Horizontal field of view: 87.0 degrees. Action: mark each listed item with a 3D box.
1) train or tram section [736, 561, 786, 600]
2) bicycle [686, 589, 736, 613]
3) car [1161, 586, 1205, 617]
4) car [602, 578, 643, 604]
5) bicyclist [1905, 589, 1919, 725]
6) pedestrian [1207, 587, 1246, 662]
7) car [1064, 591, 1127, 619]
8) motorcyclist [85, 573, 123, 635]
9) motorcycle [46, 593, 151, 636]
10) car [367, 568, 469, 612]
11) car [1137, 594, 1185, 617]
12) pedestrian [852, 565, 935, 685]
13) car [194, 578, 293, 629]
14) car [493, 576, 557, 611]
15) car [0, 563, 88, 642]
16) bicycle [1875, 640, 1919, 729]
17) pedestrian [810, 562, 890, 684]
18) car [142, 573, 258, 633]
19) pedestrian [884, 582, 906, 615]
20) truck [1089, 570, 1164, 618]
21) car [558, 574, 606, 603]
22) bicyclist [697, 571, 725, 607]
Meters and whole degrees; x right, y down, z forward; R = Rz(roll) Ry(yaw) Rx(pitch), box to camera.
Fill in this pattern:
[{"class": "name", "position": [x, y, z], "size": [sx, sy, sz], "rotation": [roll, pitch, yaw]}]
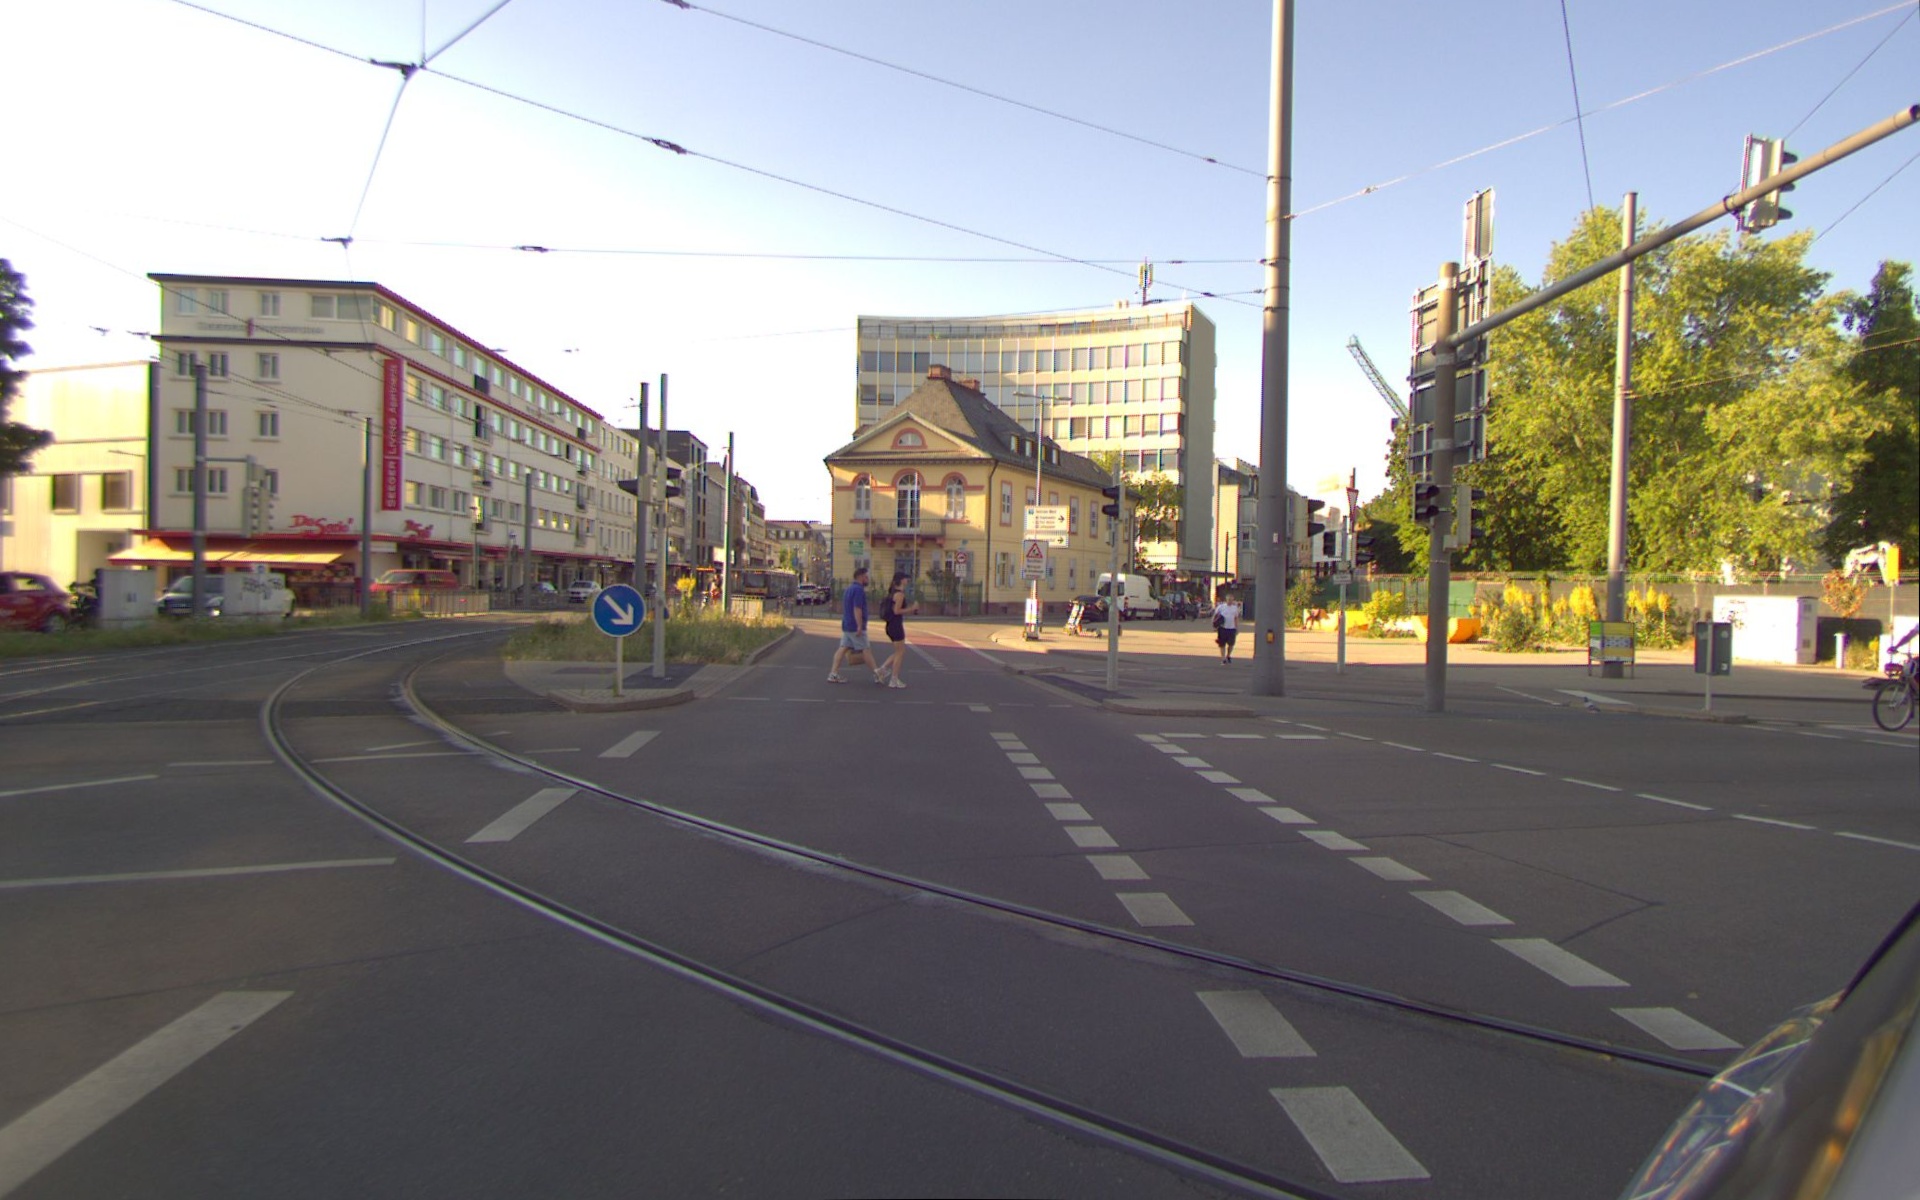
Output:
[{"class": "train or tram section", "position": [-20.823, -2.019, 106.979], "size": [3.642, 3.881, 13.373], "rotation": [1, 1, -4]}, {"class": "bicycle", "position": [-10.489, 0.047, 42.667], "size": [0.722, 0.960, 1.960], "rotation": [0, -1, 43]}, {"class": "car", "position": [14.584, 0.116, 66.101], "size": [1.701, 2.006, 3.718], "rotation": [0, -1, 32]}, {"class": "car", "position": [-28.107, -0.697, 84.440], "size": [1.961, 2.039, 4.874], "rotation": [1, -1, -3]}, {"class": "bicyclist", "position": [13.237, 0.759, 13.419], "size": [1.038, 1.791, 0.544], "rotation": [1, -1, -14]}, {"class": "pedestrian", "position": [6.558, 0.594, 24.959], "size": [0.747, 1.785, 1.006], "rotation": [0, -1, 5]}, {"class": "car", "position": [7.067, 0.298, 52.368], "size": [1.701, 1.382, 4.146], "rotation": [0, -1, 32]}, {"class": "motorcyclist", "position": [-21.391, 0.093, 25.305], "size": [0.524, 1.528, 0.462], "rotation": [1, -1, -4]}, {"class": "motorcycle", "position": [-21.528, 0.349, 25.384], "size": [0.524, 1.014, 2.673], "rotation": [1, -1, -5]}, {"class": "car", "position": [-24.401, -0.423, 45.773], "size": [1.870, 1.866, 4.620], "rotation": [0, -1, 4]}, {"class": "car", "position": [12.425, 0.364, 62.368], "size": [1.701, 1.382, 3.718], "rotation": [0, -1, 32]}, {"class": "pedestrian", "position": [-0.983, 0.364, 15.082], "size": [0.695, 1.704, 1.026], "rotation": [-1, -2, 43]}, {"class": "car", "position": [-24.465, 0.128, 34.687], "size": [1.805, 1.639, 4.007], "rotation": [1, -1, -21]}, {"class": "car", "position": [-26.401, -0.352, 61.599], "size": [1.961, 2.039, 4.874], "rotation": [1, -1, -3]}, {"class": "car", "position": [-20.951, 0.050, 21.372], "size": [1.807, 1.639, 4.003], "rotation": [1, -1, -5]}, {"class": "bicycle", "position": [13.045, 1.094, 13.351], "size": [1.770, 1.115, 0.544], "rotation": [1, -1, -14]}, {"class": "pedestrian", "position": [-1.696, 0.349, 15.641], "size": [0.695, 1.816, 1.026], "rotation": [-1, -2, 43]}, {"class": "car", "position": [-22.285, 0.120, 29.830], "size": [1.805, 1.639, 4.007], "rotation": [1, -1, -23]}, {"class": "pedestrian", "position": [-3.250, -0.063, 50.599], "size": [0.802, 1.663, 0.686], "rotation": [1, -1, -34]}, {"class": "truck", "position": [9.539, -0.298, 57.472], "size": [2.283, 2.581, 5.574], "rotation": [0, -1, 32]}, {"class": "car", "position": [-28.205, -0.802, 75.614], "size": [1.961, 2.039, 4.874], "rotation": [1, -1, -3]}, {"class": "bicyclist", "position": [-10.489, -0.466, 42.666], "size": [0.722, 1.476, 0.883], "rotation": [-1, -2, 44]}]
